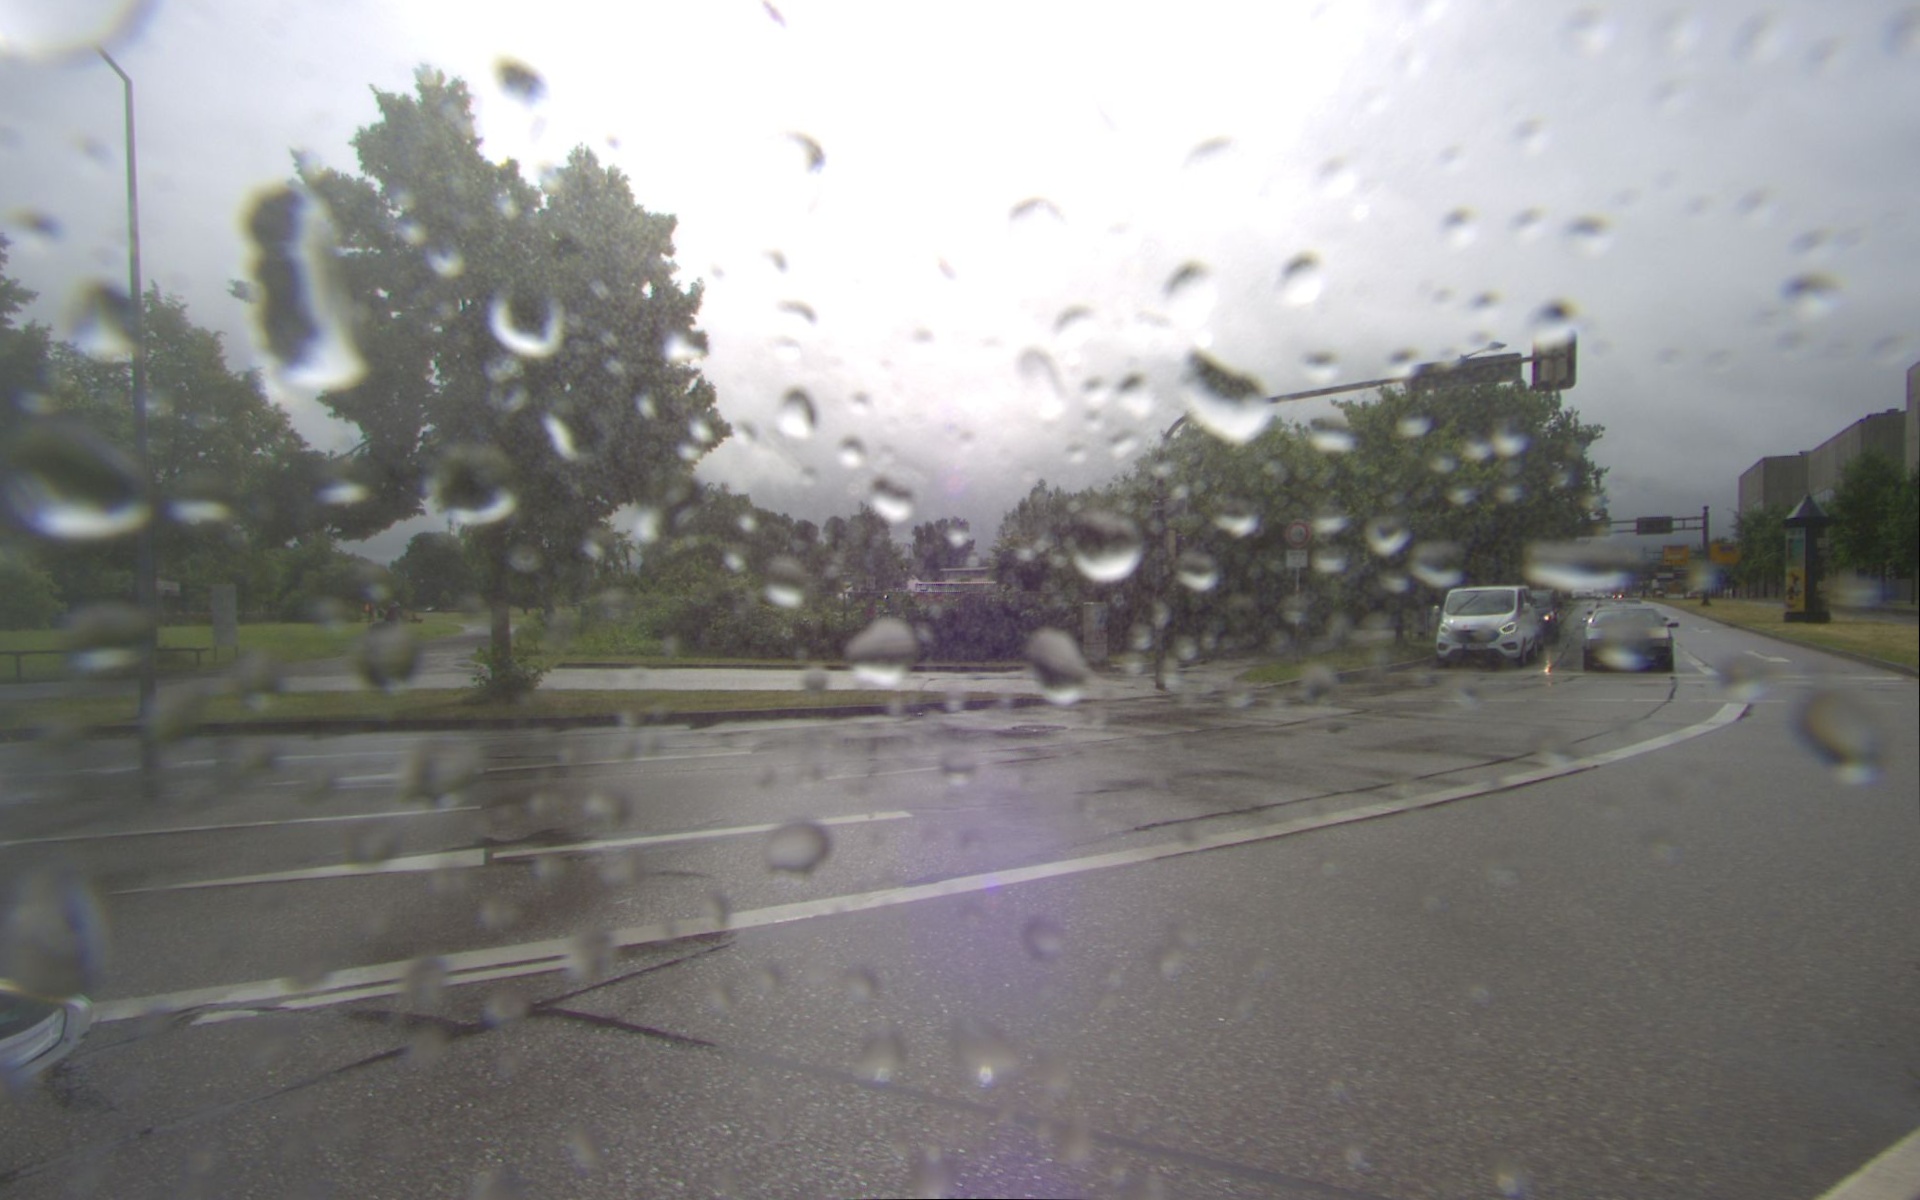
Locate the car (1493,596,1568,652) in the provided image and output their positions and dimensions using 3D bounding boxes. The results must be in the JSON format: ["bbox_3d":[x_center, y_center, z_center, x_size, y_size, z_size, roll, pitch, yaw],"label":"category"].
[{"bbox_3d":[22.041,0.870,38.609,2.051,2.014,4.769,0,0,36],"label":"car"}]

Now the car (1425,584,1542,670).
[{"bbox_3d":[13.682,0.650,26.025,2.051,2.014,4.769,0,0,36],"label":"car"}]

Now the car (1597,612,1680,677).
[{"bbox_3d":[19.438,1.205,28.808,1.841,1.556,4.461,0,1,33],"label":"car"}]

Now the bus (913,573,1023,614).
[{"bbox_3d":[0.689,-0.565,97.111,10.810,3.504,1.994,-2,-1,26],"label":"bus"}]

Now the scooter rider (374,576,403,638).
[{"bbox_3d":[-18.847,0.237,33.034,0.694,2.039,0.768,-1,-1,-21],"label":"scooter rider"}]

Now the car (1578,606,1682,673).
[{"bbox_3d":[15.625,0.848,23.468,1.841,1.398,4.526,0,0,33],"label":"car"}]

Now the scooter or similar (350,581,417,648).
[{"bbox_3d":[-18.688,0.506,32.558,1.218,2.039,3.403,-1,-2,-18],"label":"scooter or similar"}]

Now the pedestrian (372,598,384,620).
[{"bbox_3d":[-47.050,0.755,80.945,0.588,1.754,0.605,-1,-1,14],"label":"pedestrian"}]
